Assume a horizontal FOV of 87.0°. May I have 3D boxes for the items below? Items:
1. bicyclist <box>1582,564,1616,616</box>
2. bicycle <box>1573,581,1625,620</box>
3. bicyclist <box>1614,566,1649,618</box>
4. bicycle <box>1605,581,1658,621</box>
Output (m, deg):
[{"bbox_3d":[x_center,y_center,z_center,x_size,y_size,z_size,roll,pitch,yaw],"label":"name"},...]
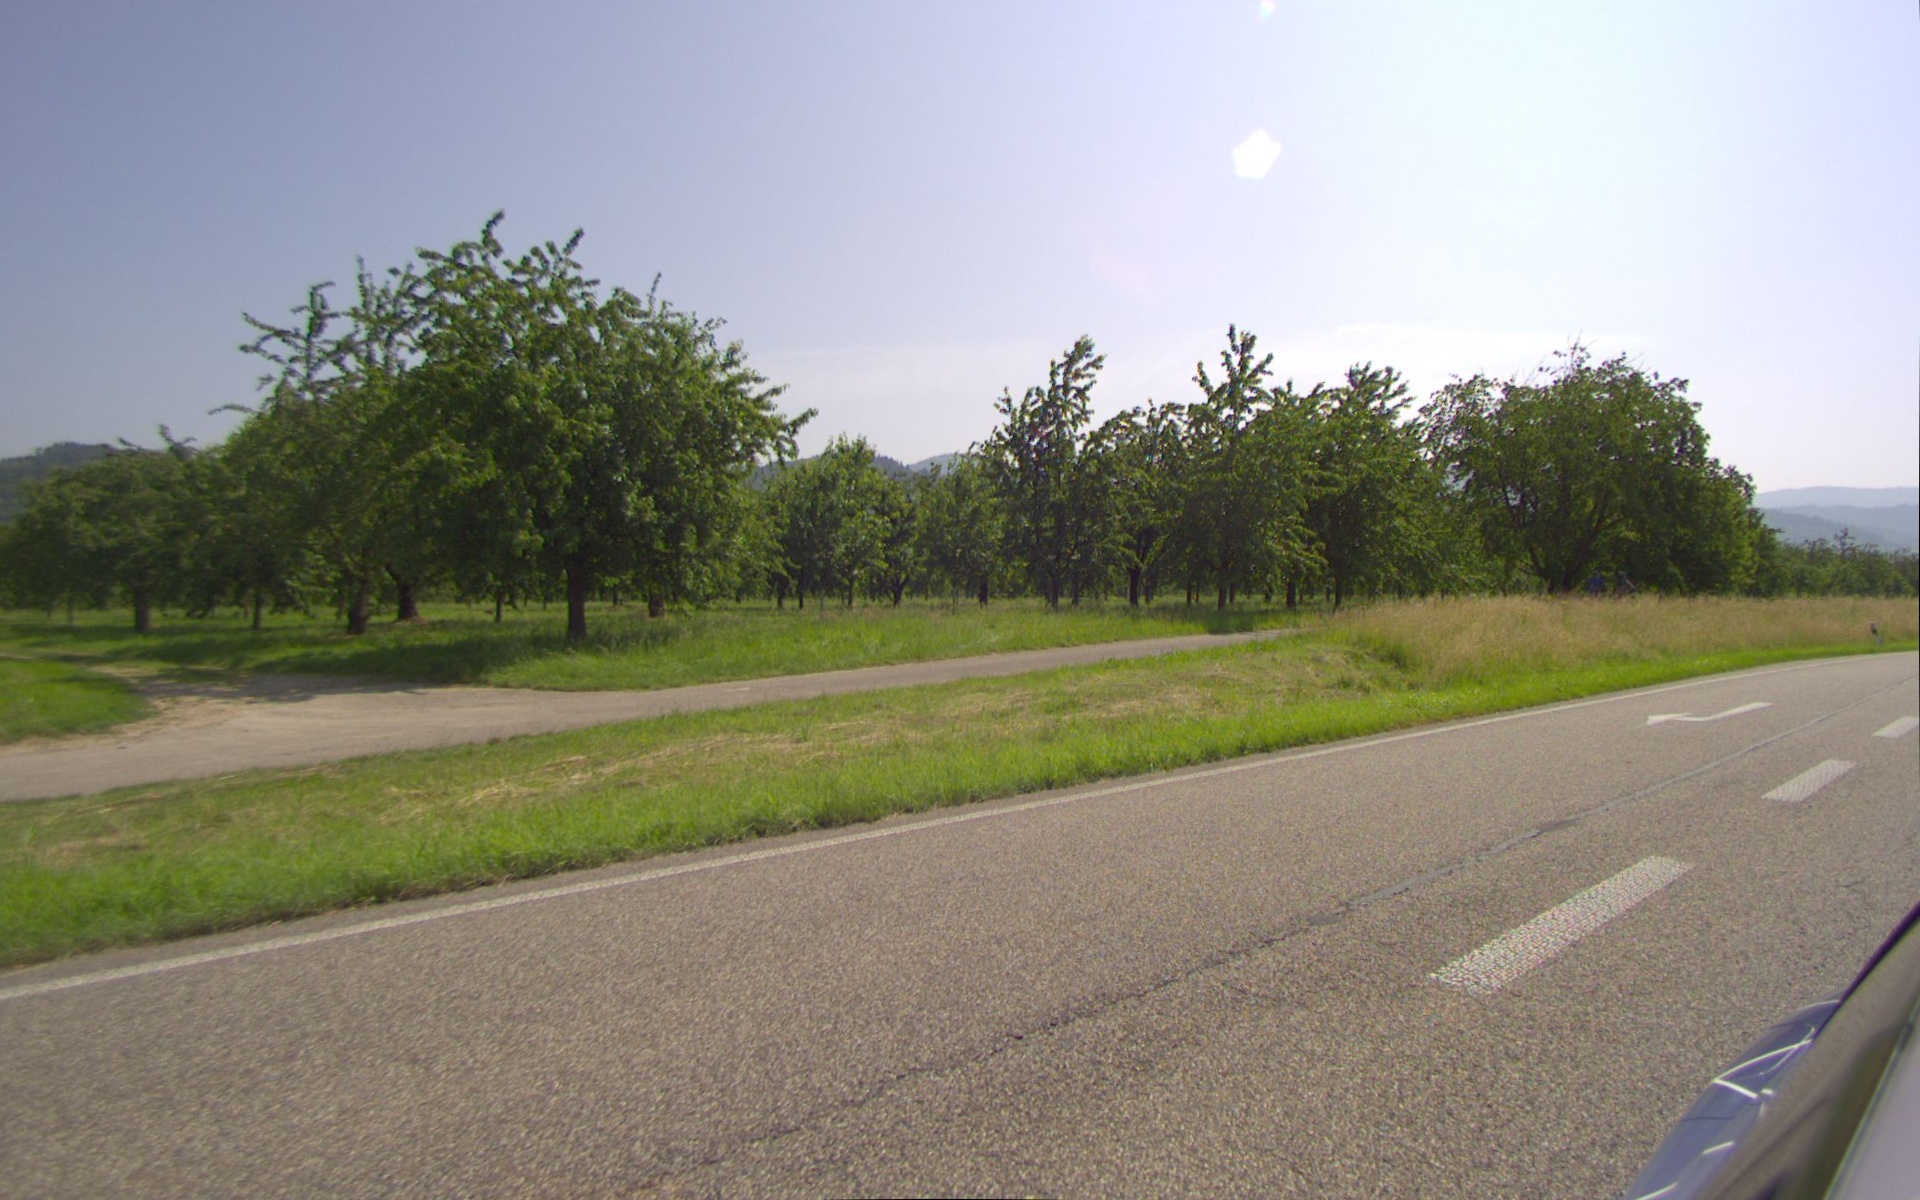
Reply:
[{"bbox_3d":[24.267,-0.370,38.423,0.811,1.953,0.753,1,1,-31],"label":"bicyclist"},{"bbox_3d":[24.267,0.023,38.427,2.177,1.436,0.753,0,1,-31],"label":"bicycle"},{"bbox_3d":[24.933,-0.301,37.577,0.852,1.890,0.753,1,1,-31],"label":"bicyclist"},{"bbox_3d":[24.940,0.038,37.587,2.177,1.436,0.753,0,1,-31],"label":"bicycle"}]
